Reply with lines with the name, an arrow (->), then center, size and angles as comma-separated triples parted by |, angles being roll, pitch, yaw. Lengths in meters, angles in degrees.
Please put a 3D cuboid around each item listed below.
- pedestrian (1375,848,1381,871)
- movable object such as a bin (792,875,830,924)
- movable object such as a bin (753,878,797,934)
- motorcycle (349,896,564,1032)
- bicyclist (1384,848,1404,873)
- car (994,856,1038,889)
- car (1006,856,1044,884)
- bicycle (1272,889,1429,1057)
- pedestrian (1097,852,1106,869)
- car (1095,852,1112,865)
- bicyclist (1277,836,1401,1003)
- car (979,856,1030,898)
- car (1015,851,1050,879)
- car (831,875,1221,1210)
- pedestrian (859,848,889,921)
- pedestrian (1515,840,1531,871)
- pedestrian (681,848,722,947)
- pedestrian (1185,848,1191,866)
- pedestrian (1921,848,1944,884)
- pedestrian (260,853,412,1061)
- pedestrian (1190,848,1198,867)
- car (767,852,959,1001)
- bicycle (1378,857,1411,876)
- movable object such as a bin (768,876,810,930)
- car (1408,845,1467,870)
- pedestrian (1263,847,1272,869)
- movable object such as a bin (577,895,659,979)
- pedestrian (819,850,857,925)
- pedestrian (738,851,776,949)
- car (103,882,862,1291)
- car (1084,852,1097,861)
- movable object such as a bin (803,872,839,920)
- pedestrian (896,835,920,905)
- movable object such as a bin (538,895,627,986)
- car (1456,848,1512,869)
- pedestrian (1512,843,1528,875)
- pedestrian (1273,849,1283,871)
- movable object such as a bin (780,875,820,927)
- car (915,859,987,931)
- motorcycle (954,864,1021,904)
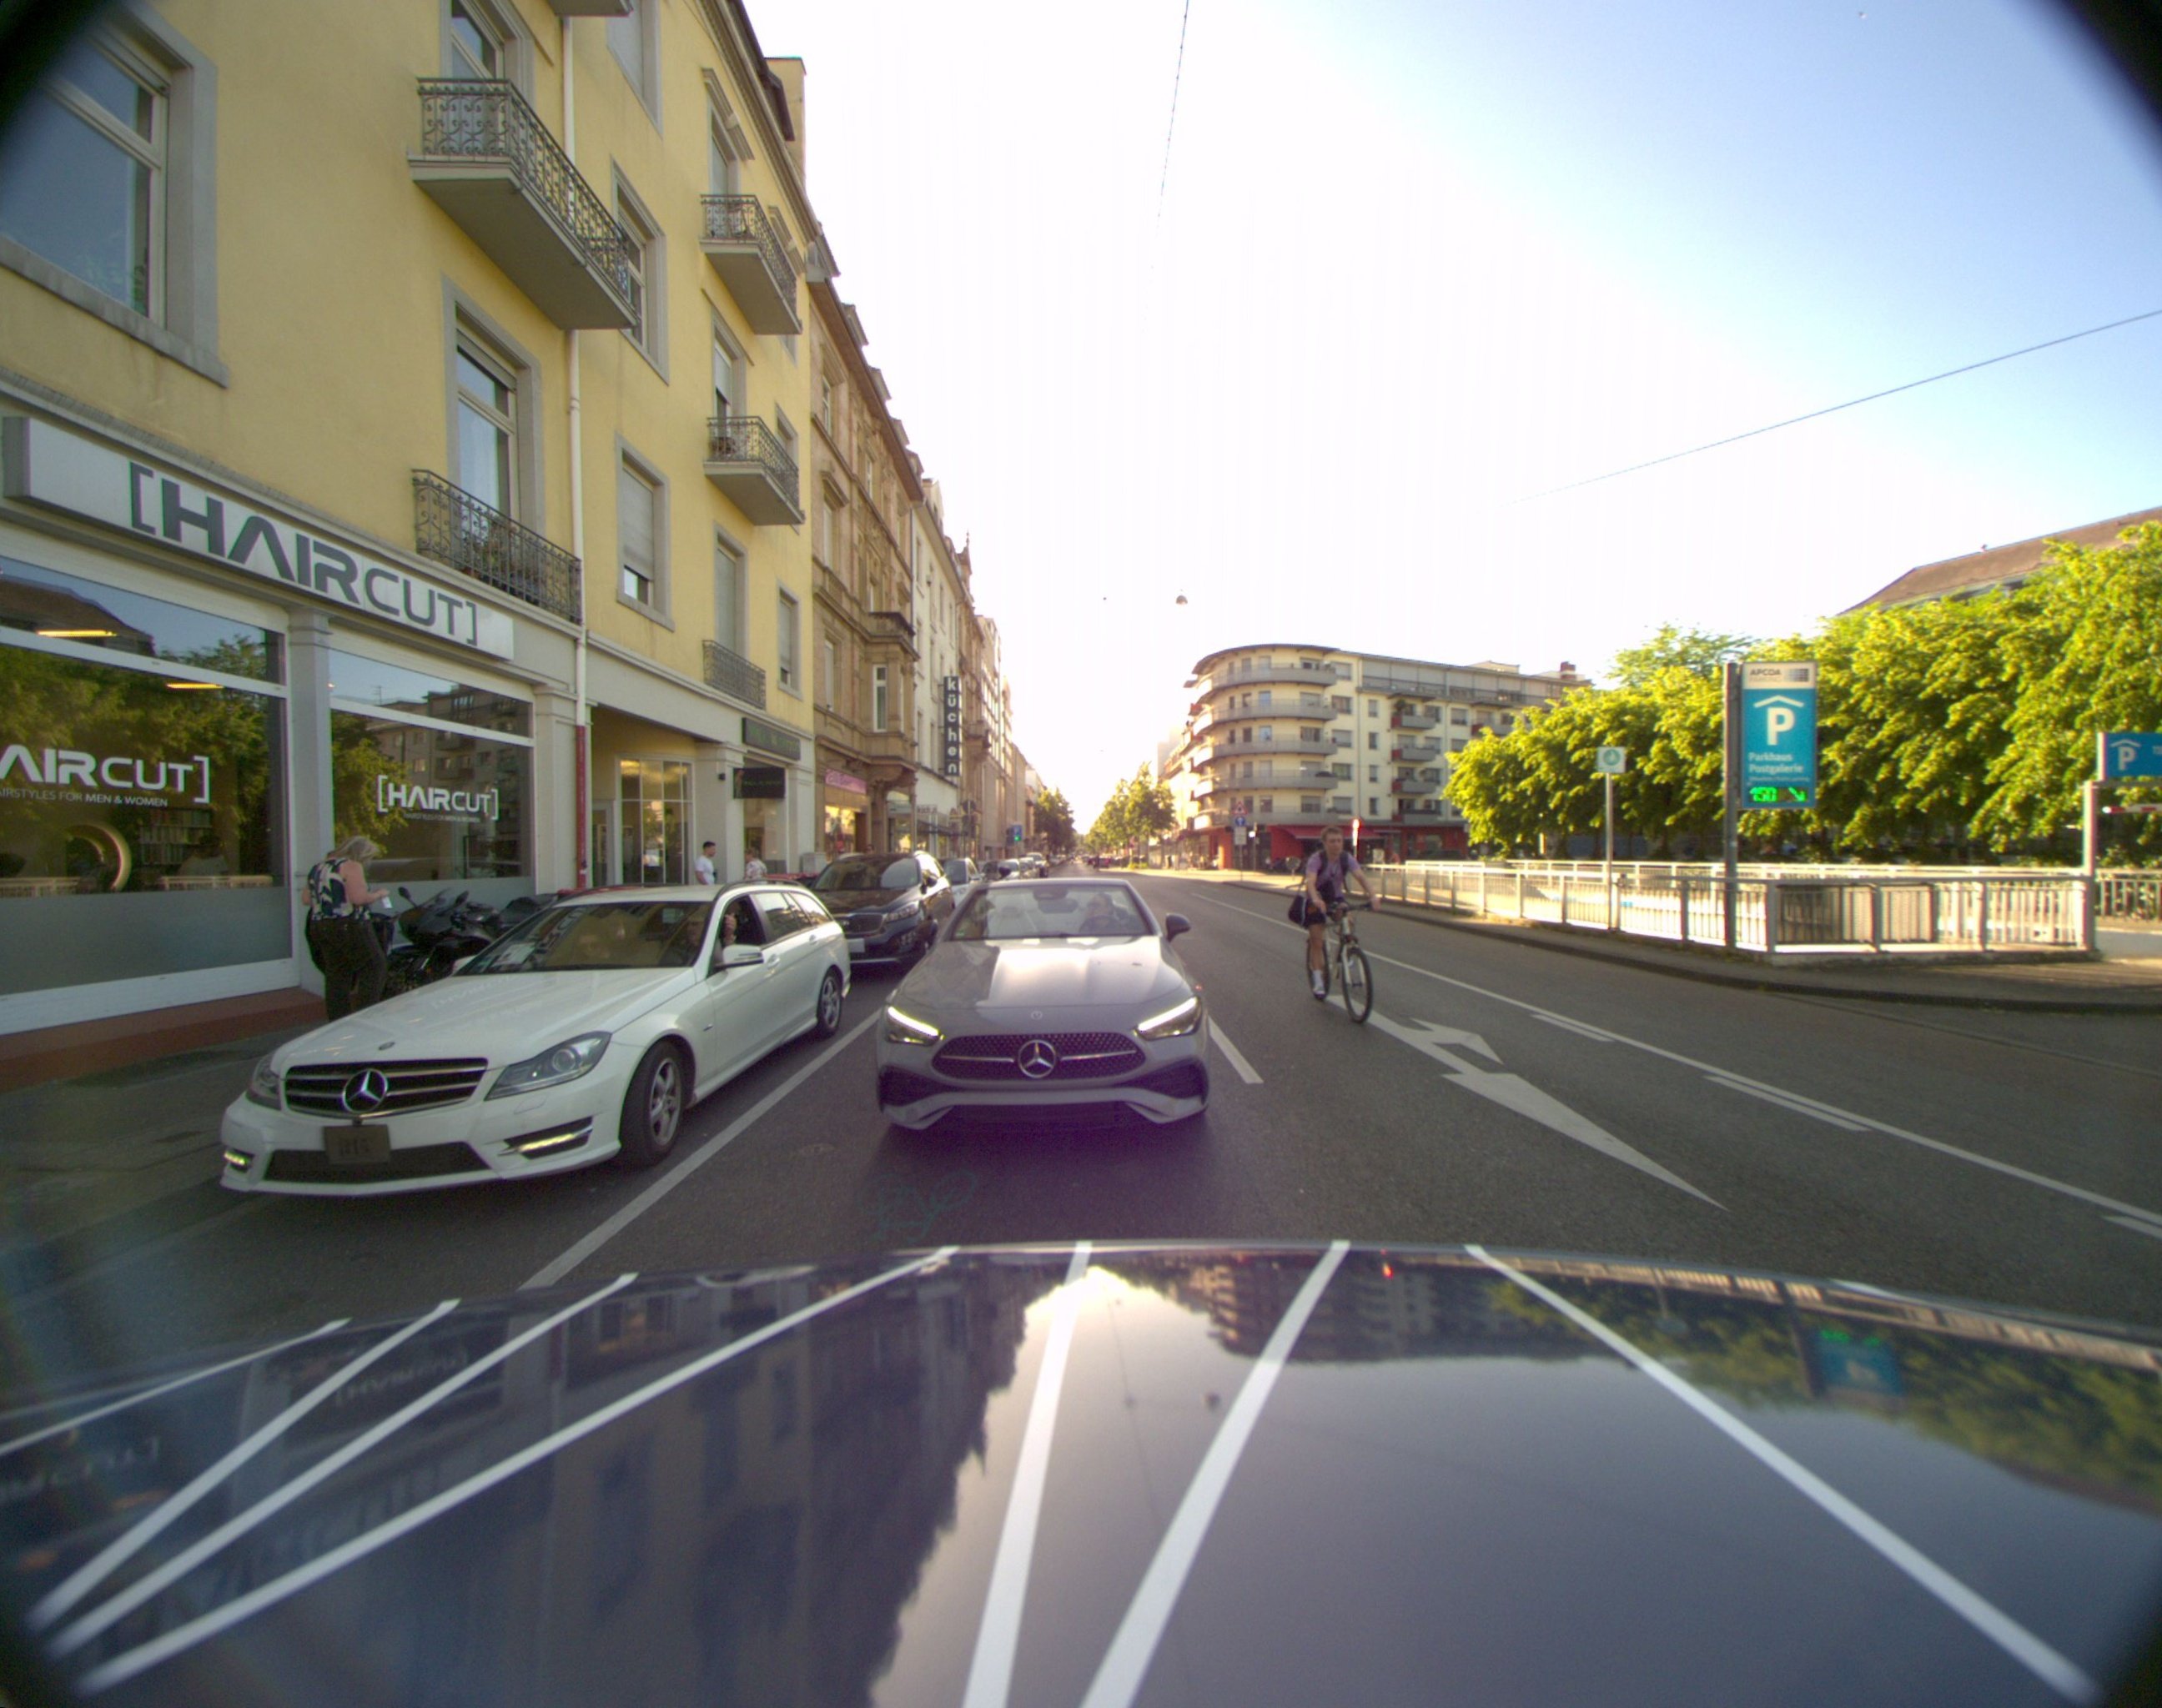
pedestrian -> 21.616, 0.423, 55.323 | 0.322, 1.658, 0.362 | -1, 1, 32
movable object such as a bin -> -6.063, 1.014, 17.097 | 0.606, 1.060, 0.619 | 2, 1, 0
movable object such as a bin -> -6.109, 1.023, 15.202 | 0.606, 1.060, 0.619 | 2, 1, 0
motorcycle -> -6.232, 1.036, 7.758 | 0.551, 1.085, 2.009 | 0, 0, -1
bicyclist -> 20.635, 0.417, 50.084 | 0.973, 1.605, 0.715 | -1, 1, 40
car -> -3.073, 0.856, 36.520 | 1.737, 1.409, 3.802 | -1, 0, 0
car -> -2.994, 0.822, 41.102 | 1.737, 1.409, 3.802 | -1, 0, 0
bicycle -> 2.372, 0.991, 6.941 | 0.798, 1.226, 1.773 | -1, 0, 1
pedestrian -> 1.852, 0.594, 69.537 | 0.774, 1.606, 0.696 | -1, 1, -3
car -> 2.610, 0.477, 87.825 | 1.806, 1.388, 3.926 | -1, 0, -1
bicyclist -> 2.357, 0.561, 7.063 | 0.798, 1.426, 1.008 | -1, 1, 1
car -> -3.045, 0.869, 30.763 | 1.737, 1.509, 4.164 | -1, 0, -2
car -> -2.999, 0.648, 47.731 | 1.895, 1.680, 4.049 | -1, 0, 0
car -> -0.255, 0.973, 5.859 | 1.848, 1.440, 4.373 | -1, 0, 0
pedestrian -> -4.683, 0.684, 17.194 | 0.515, 1.623, 0.414 | -1, 1, 0
pedestrian -> 25.305, 0.082, 43.461 | 0.602, 1.782, 0.581 | -3, 2, -40
pedestrian -> -6.474, 0.728, 12.970 | 0.337, 1.651, 0.525 | 1, 1, 25
pedestrian -> 9.513, 0.272, 67.603 | 0.376, 1.521, 0.516 | -2, 1, -3
pedestrian -> 43.107, 0.602, 38.475 | 0.602, 1.782, 0.581 | -2, 1, -20
pedestrian -> -6.052, 0.808, 6.202 | 0.698, 1.623, 0.532 | 0, 1, -2
pedestrian -> 10.020, 0.291, 67.476 | 0.570, 1.612, 0.793 | -2, 1, -3
car -> -2.981, 0.864, 11.428 | 1.760, 1.726, 4.571 | -1, 0, -3
bicycle -> 20.667, 0.829, 50.076 | 1.868, 1.205, 0.715 | -1, 1, 44
movable object such as a bin -> -6.086, 1.016, 15.849 | 0.606, 1.060, 0.619 | 2, 1, 0
car -> 29.337, 0.271, 62.522 | 4.432, 1.901, 1.951 | -2, 1, -24
pedestrian -> 14.753, 0.337, 60.027 | 0.575, 1.698, 0.642 | -1, 1, 3
movable object such as a bin -> -6.101, 1.072, 10.027 | 0.669, 1.019, 0.619 | 2, 1, 3
pedestrian -> -5.394, 0.731, 16.866 | 0.618, 1.623, 0.463 | -1, 1, 6
pedestrian -> -5.614, 0.779, 13.171 | 0.593, 1.651, 0.450 | 0, 1, -23
car -> -3.060, 1.024, 5.312 | 1.743, 1.438, 4.463 | -1, 0, 0
car -> 1.496, 0.413, 121.382 | 1.895, 1.388, 4.255 | -1, 0, -1
movable object such as a bin -> -6.070, 0.973, 17.769 | 0.606, 1.060, 0.619 | 2, 1, 0
pedestrian -> -4.408, 0.407, 19.386 | 0.434, 1.752, 0.481 | -2, 1, 1
movable object such as a bin -> -6.141, 1.050, 9.382 | 0.661, 1.035, 0.619 | 2, 1, 3
car -> 34.285, 0.352, 64.681 | 4.300, 1.611, 1.951 | -2, 1, -24
pedestrian -> 24.802, 0.266, 42.929 | 0.602, 1.782, 0.581 | -3, 2, -45
pedestrian -> 15.393, 0.453, 59.333 | 0.575, 1.698, 0.642 | -1, 1, 3
movable object such as a bin -> -6.074, 1.009, 16.464 | 0.606, 1.060, 0.619 | 2, 1, 0
car -> -3.007, 0.902, 18.002 | 1.275, 1.509, 2.794 | -1, 0, -2
motorcycle -> -3.254, 1.014, 26.504 | 2.178, 1.272, 0.866 | -2, 1, -42
